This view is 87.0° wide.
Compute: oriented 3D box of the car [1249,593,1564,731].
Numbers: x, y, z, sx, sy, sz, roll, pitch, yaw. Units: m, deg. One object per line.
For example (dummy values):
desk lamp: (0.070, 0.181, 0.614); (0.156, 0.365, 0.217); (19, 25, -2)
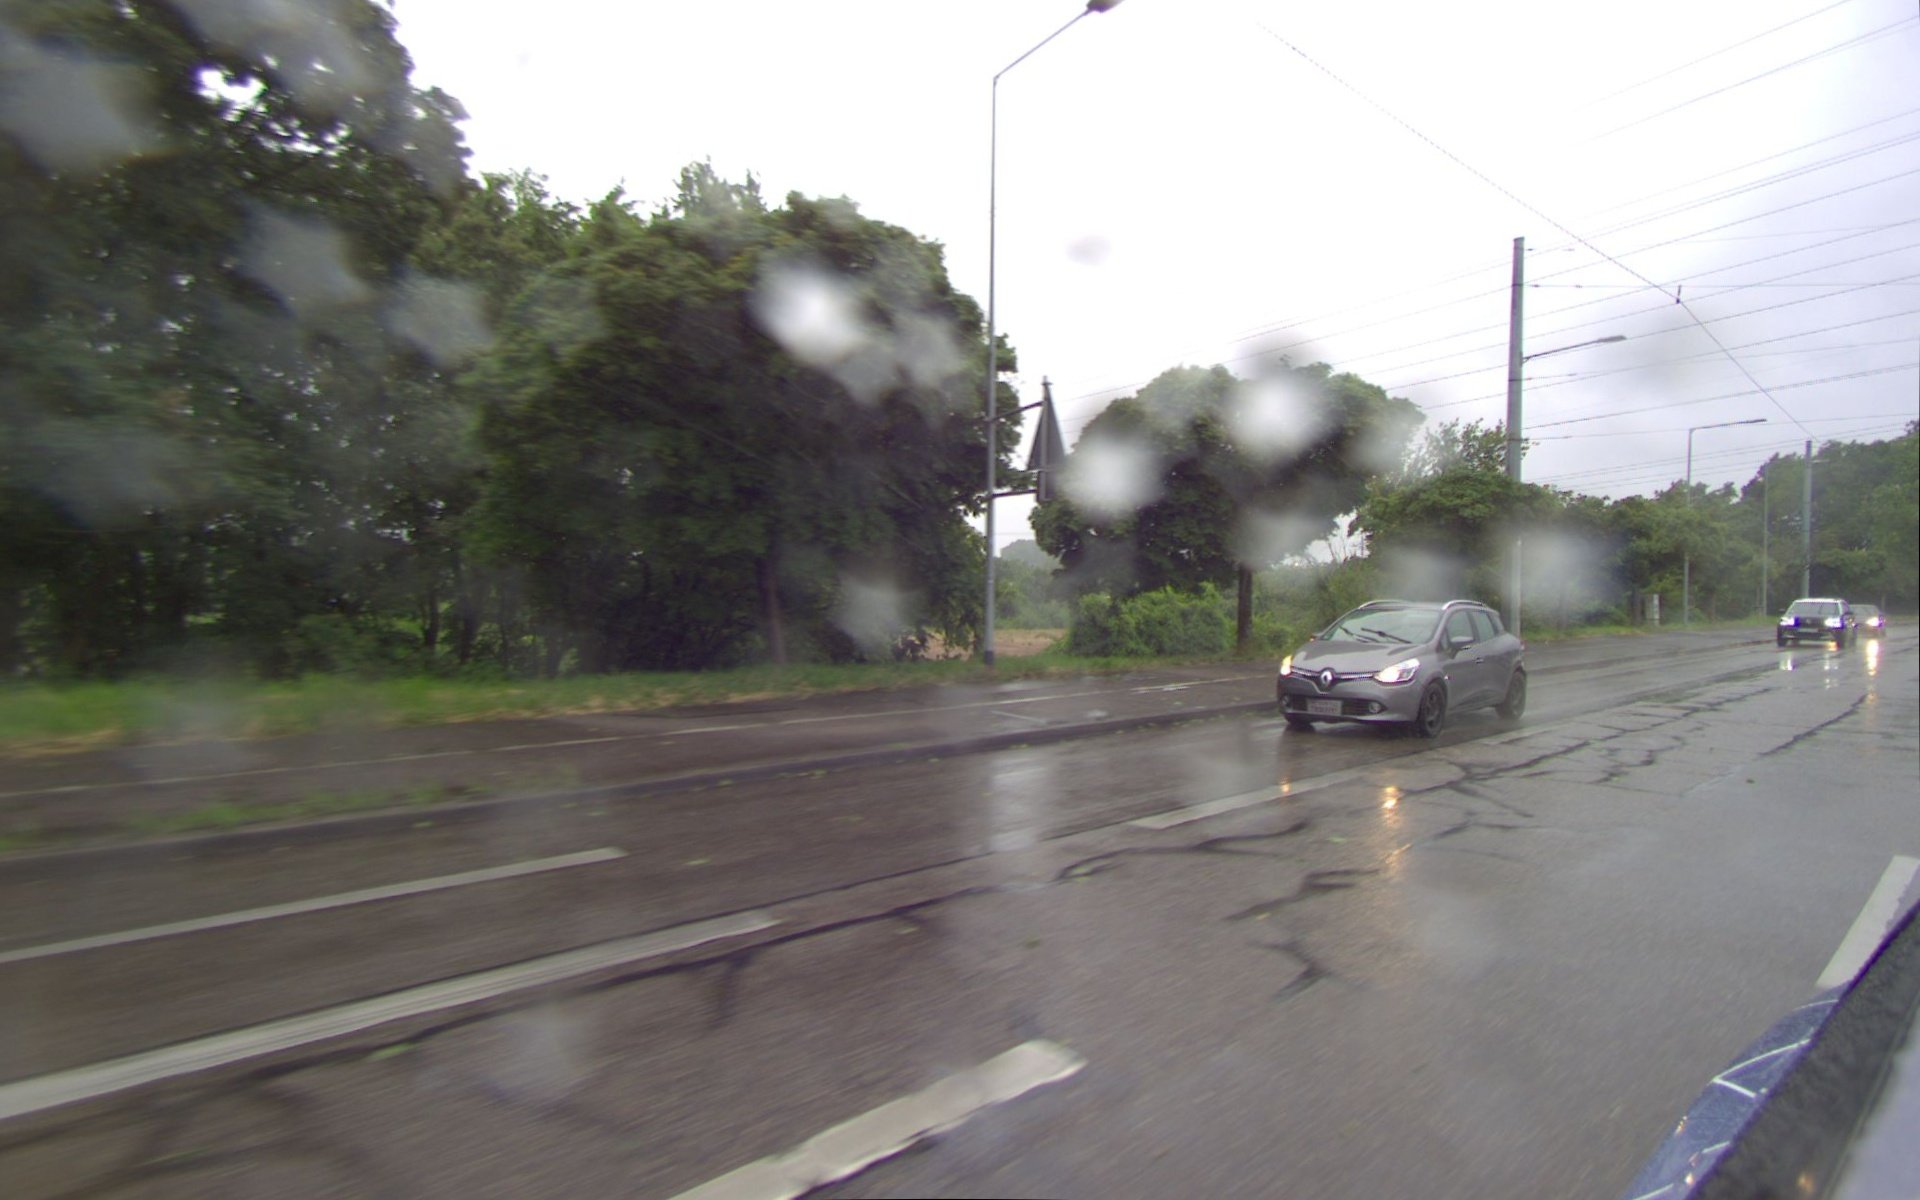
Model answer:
car: (5.489, 0.639, 12.206); (4.202, 1.374, 1.891); (1, -1, -41)

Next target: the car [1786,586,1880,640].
car: (29.929, 0.450, 34.657); (4.679, 1.724, 1.795); (1, -1, -41)

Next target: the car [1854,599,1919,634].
car: (40.177, 0.702, 43.740); (3.930, 1.445, 1.783); (1, 0, -41)
